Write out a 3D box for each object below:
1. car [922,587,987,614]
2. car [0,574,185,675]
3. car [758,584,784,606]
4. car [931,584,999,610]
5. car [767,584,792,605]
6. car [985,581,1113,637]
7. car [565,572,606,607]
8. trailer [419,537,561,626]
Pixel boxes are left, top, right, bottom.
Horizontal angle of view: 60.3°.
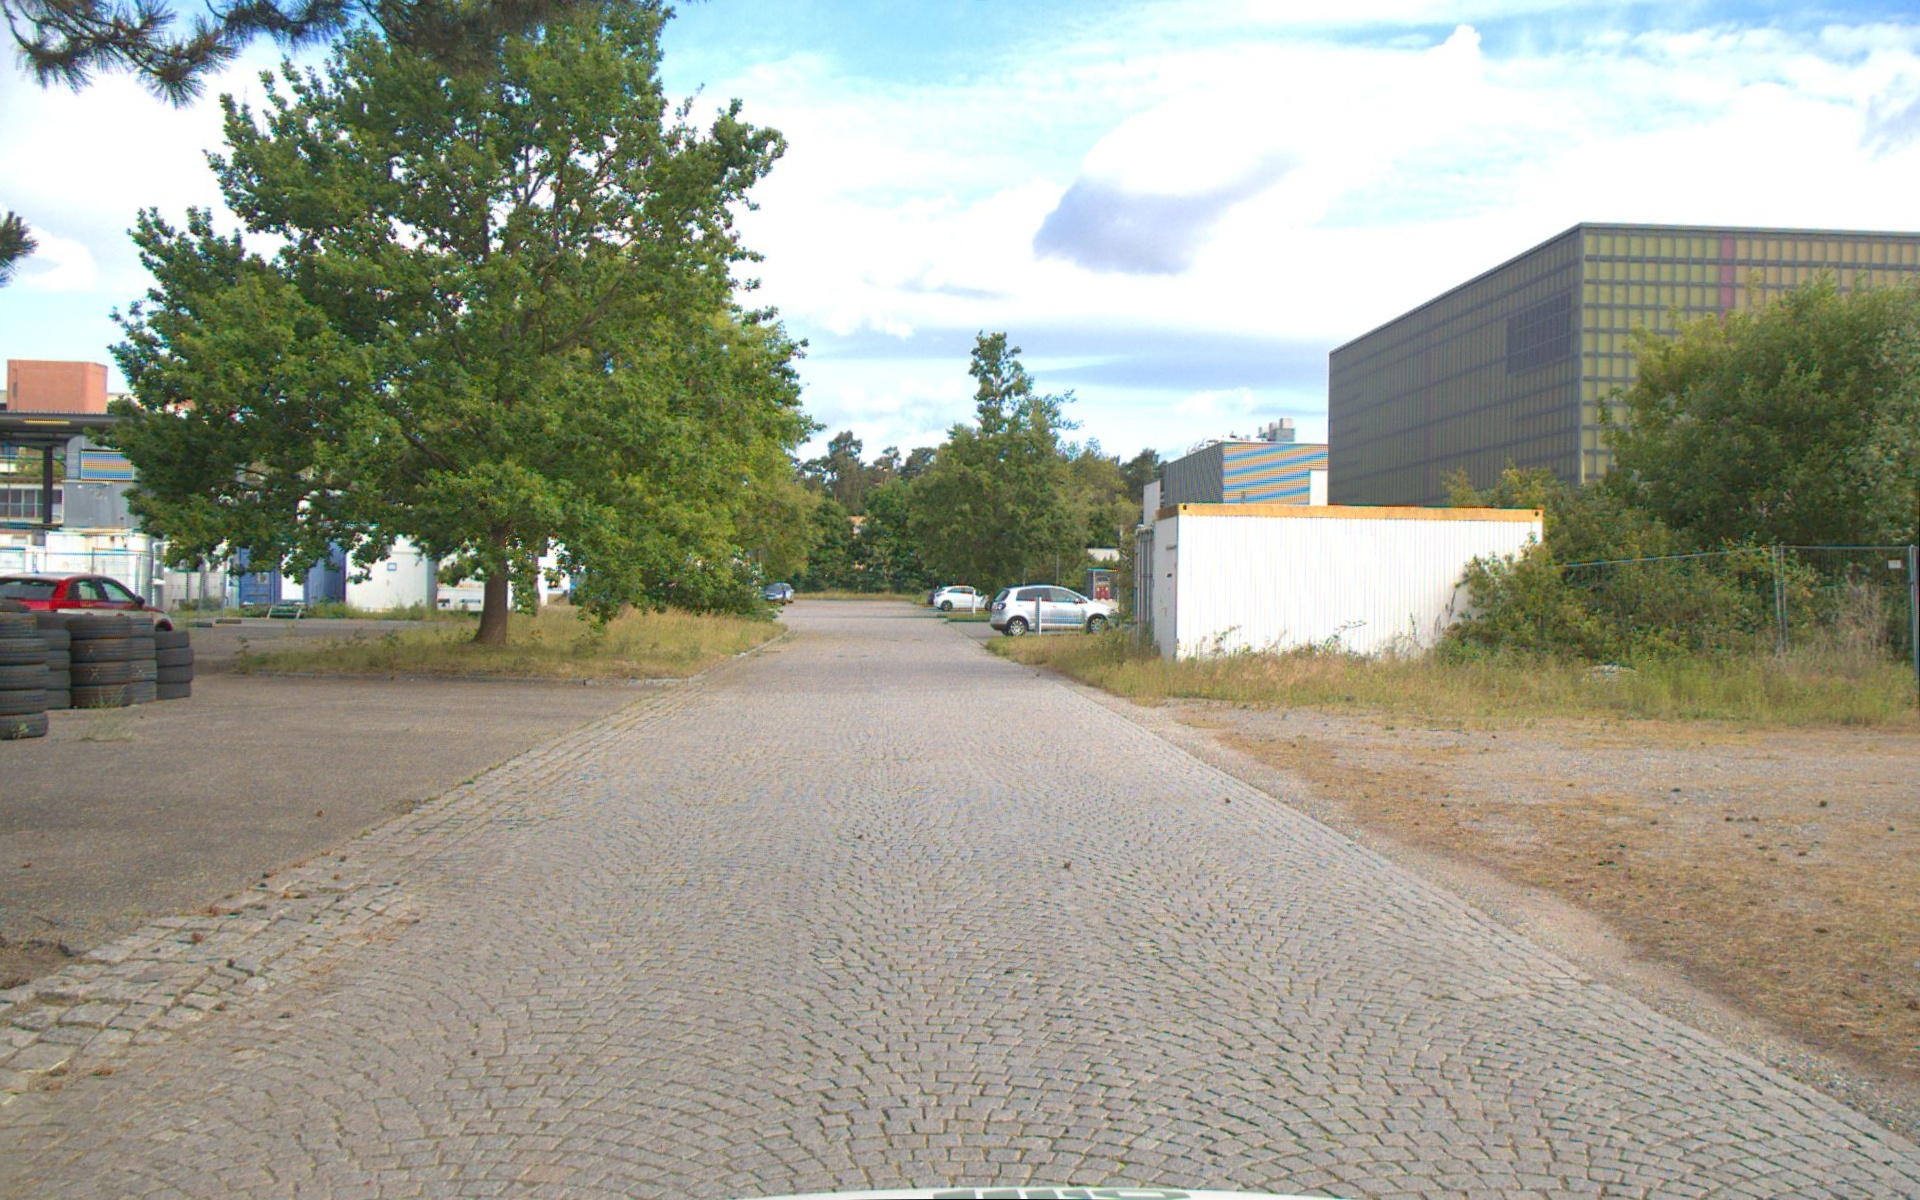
[{"bbox_3d":[-0.339,0.031,103.625,3.910,1.629,1.727,1,0,-6],"label":"car"},{"bbox_3d":[-14.055,0.352,26.281,1.730,1.478,3.489,1,0,2],"label":"car"},{"bbox_3d":[-13.275,-0.345,116.309,1.701,1.495,4.041,1,0,-6],"label":"car"},{"bbox_3d":[0.304,-0.179,98.103,3.944,1.528,1.547,1,0,-3],"label":"car"},{"bbox_3d":[-13.708,-0.429,125.652,1.769,1.561,3.995,1,0,-6],"label":"car"},{"bbox_3d":[2.779,0.270,52.047,3.775,1.683,1.684,1,0,-6],"label":"car"},{"bbox_3d":[-23.427,-0.665,103.621,1.888,2.083,4.595,1,0,-6],"label":"car"},{"bbox_3d":[-17.844,-0.695,63.403,3.095,3.121,8.781,1,0,-1],"label":"trailer"}]
